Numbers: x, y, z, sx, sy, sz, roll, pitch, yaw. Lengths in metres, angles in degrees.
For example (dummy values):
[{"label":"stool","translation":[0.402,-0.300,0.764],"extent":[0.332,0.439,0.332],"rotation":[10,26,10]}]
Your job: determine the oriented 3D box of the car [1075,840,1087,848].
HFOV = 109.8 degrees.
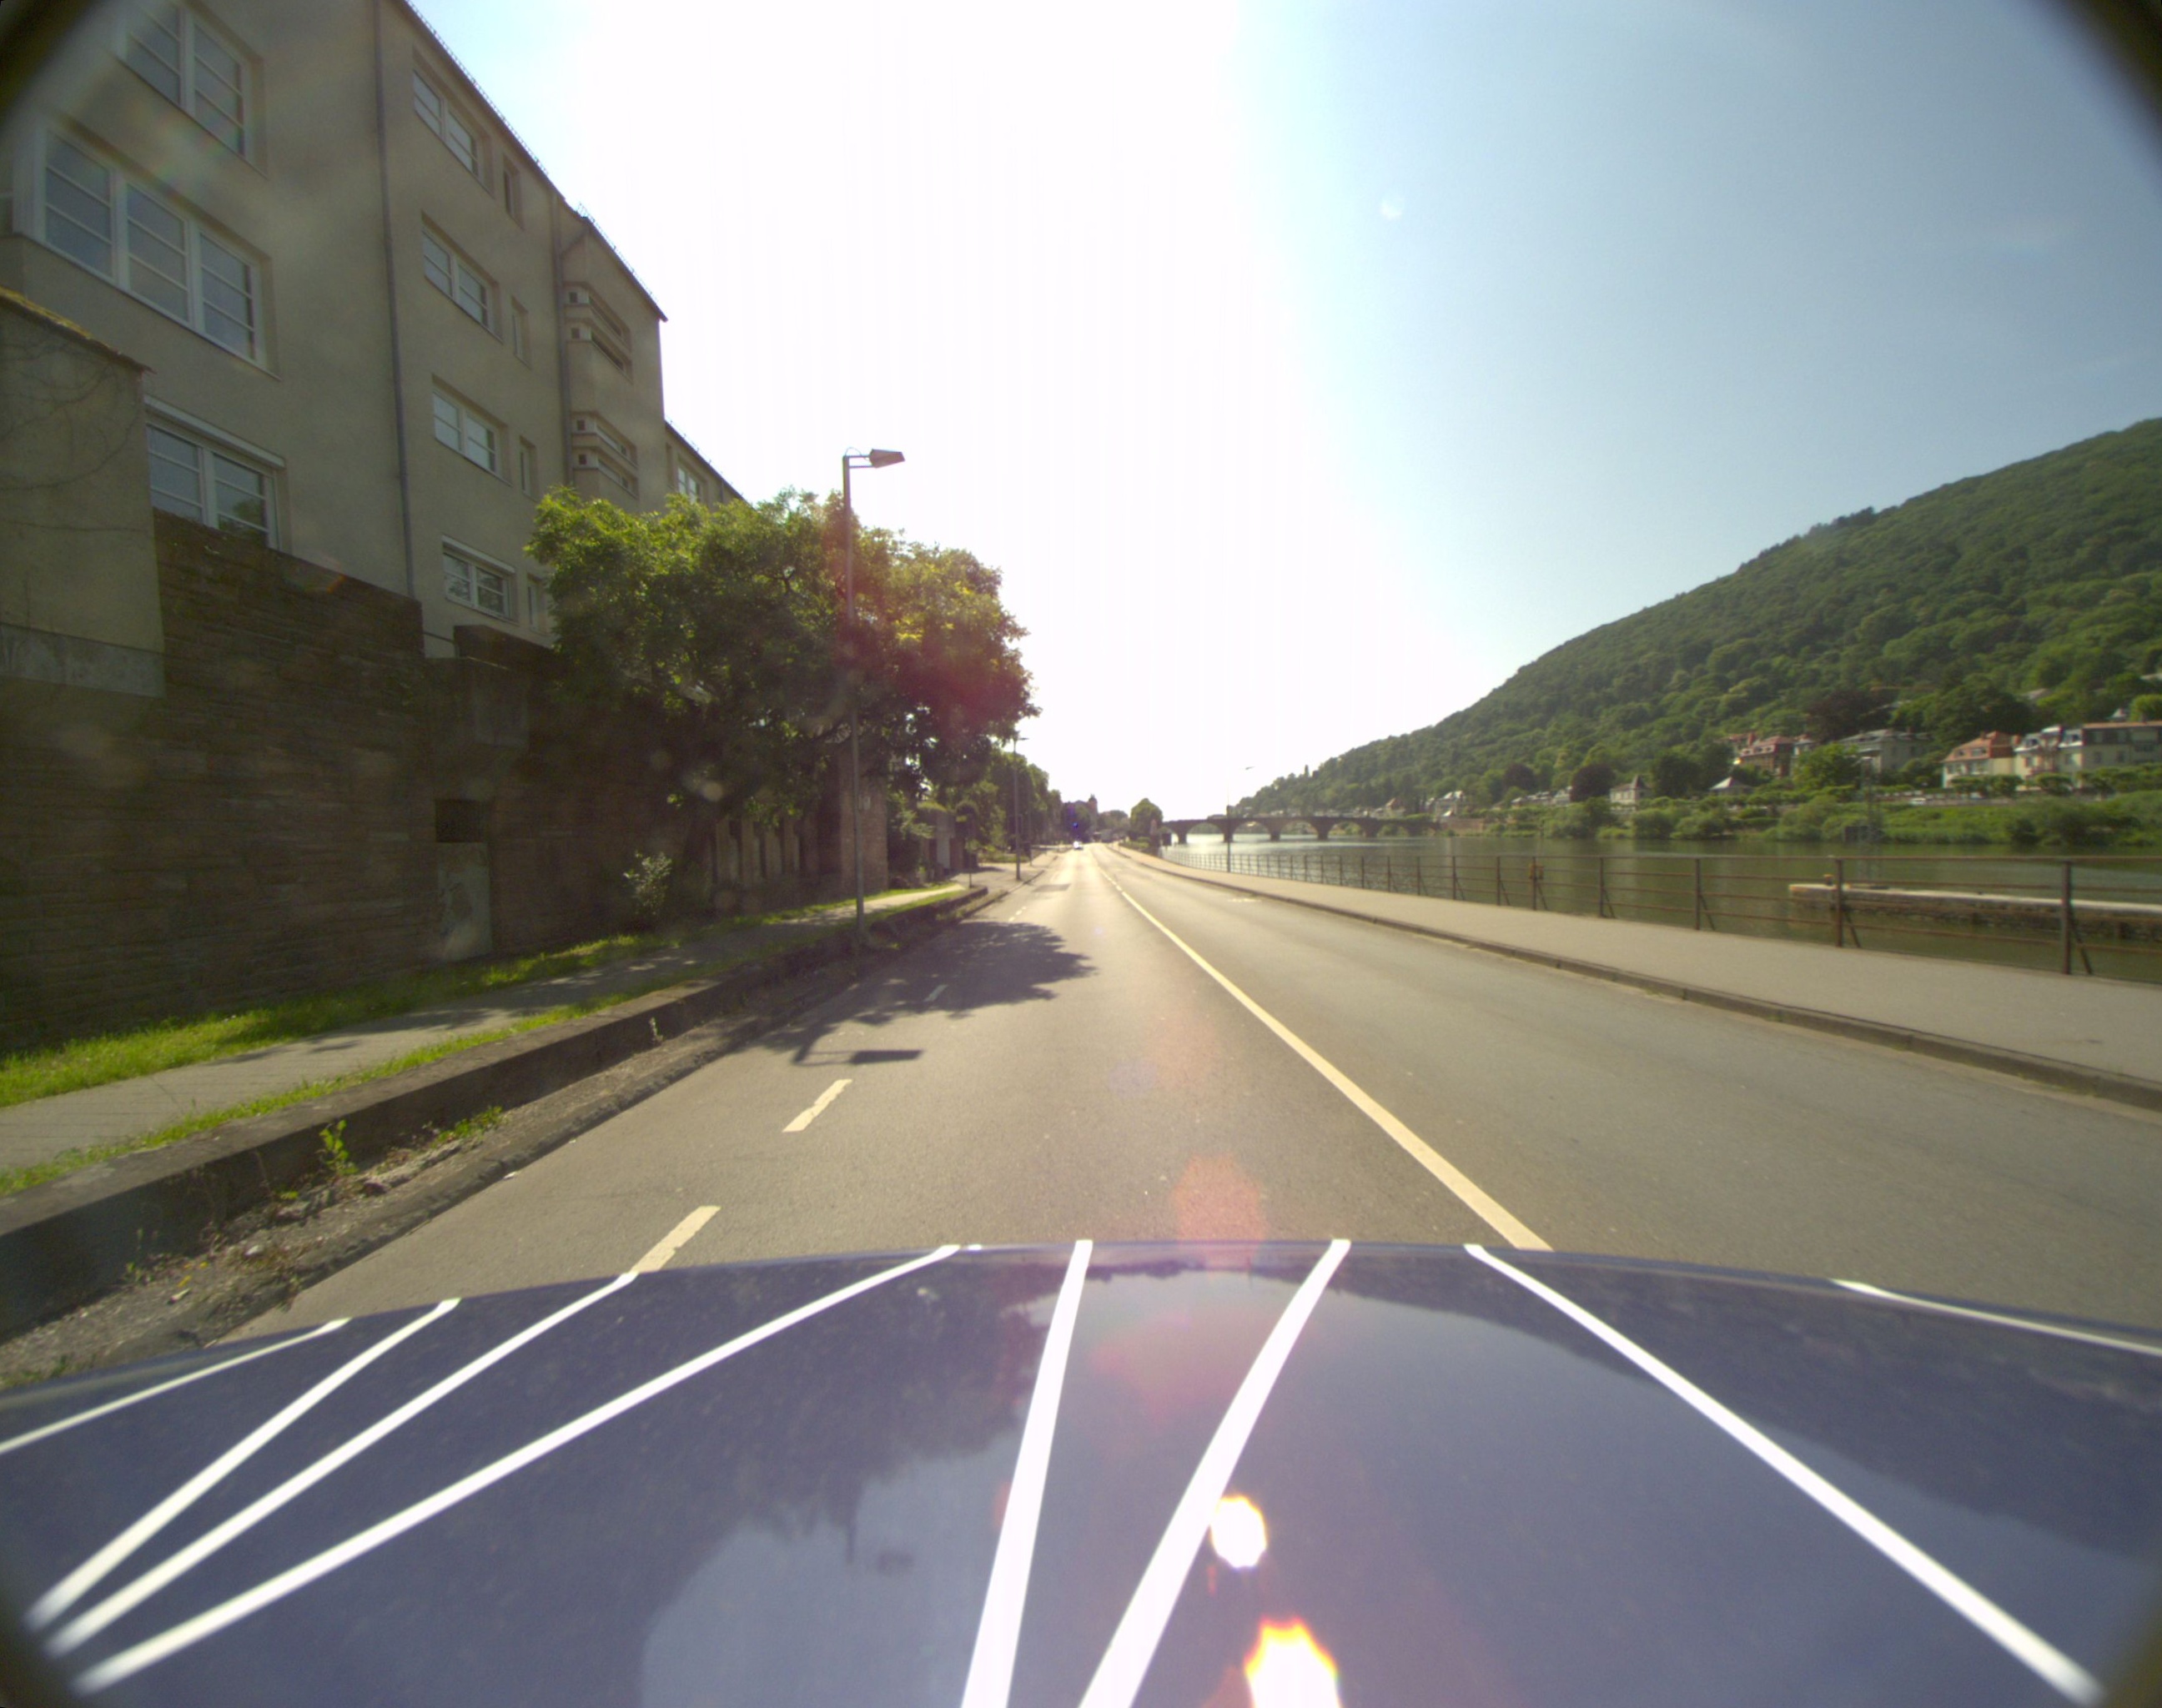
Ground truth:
[{"label":"car","translation":[0.075,-1.743,138.927],"extent":[1.998,1.434,4.000],"rotation":[0,0,2]}]
